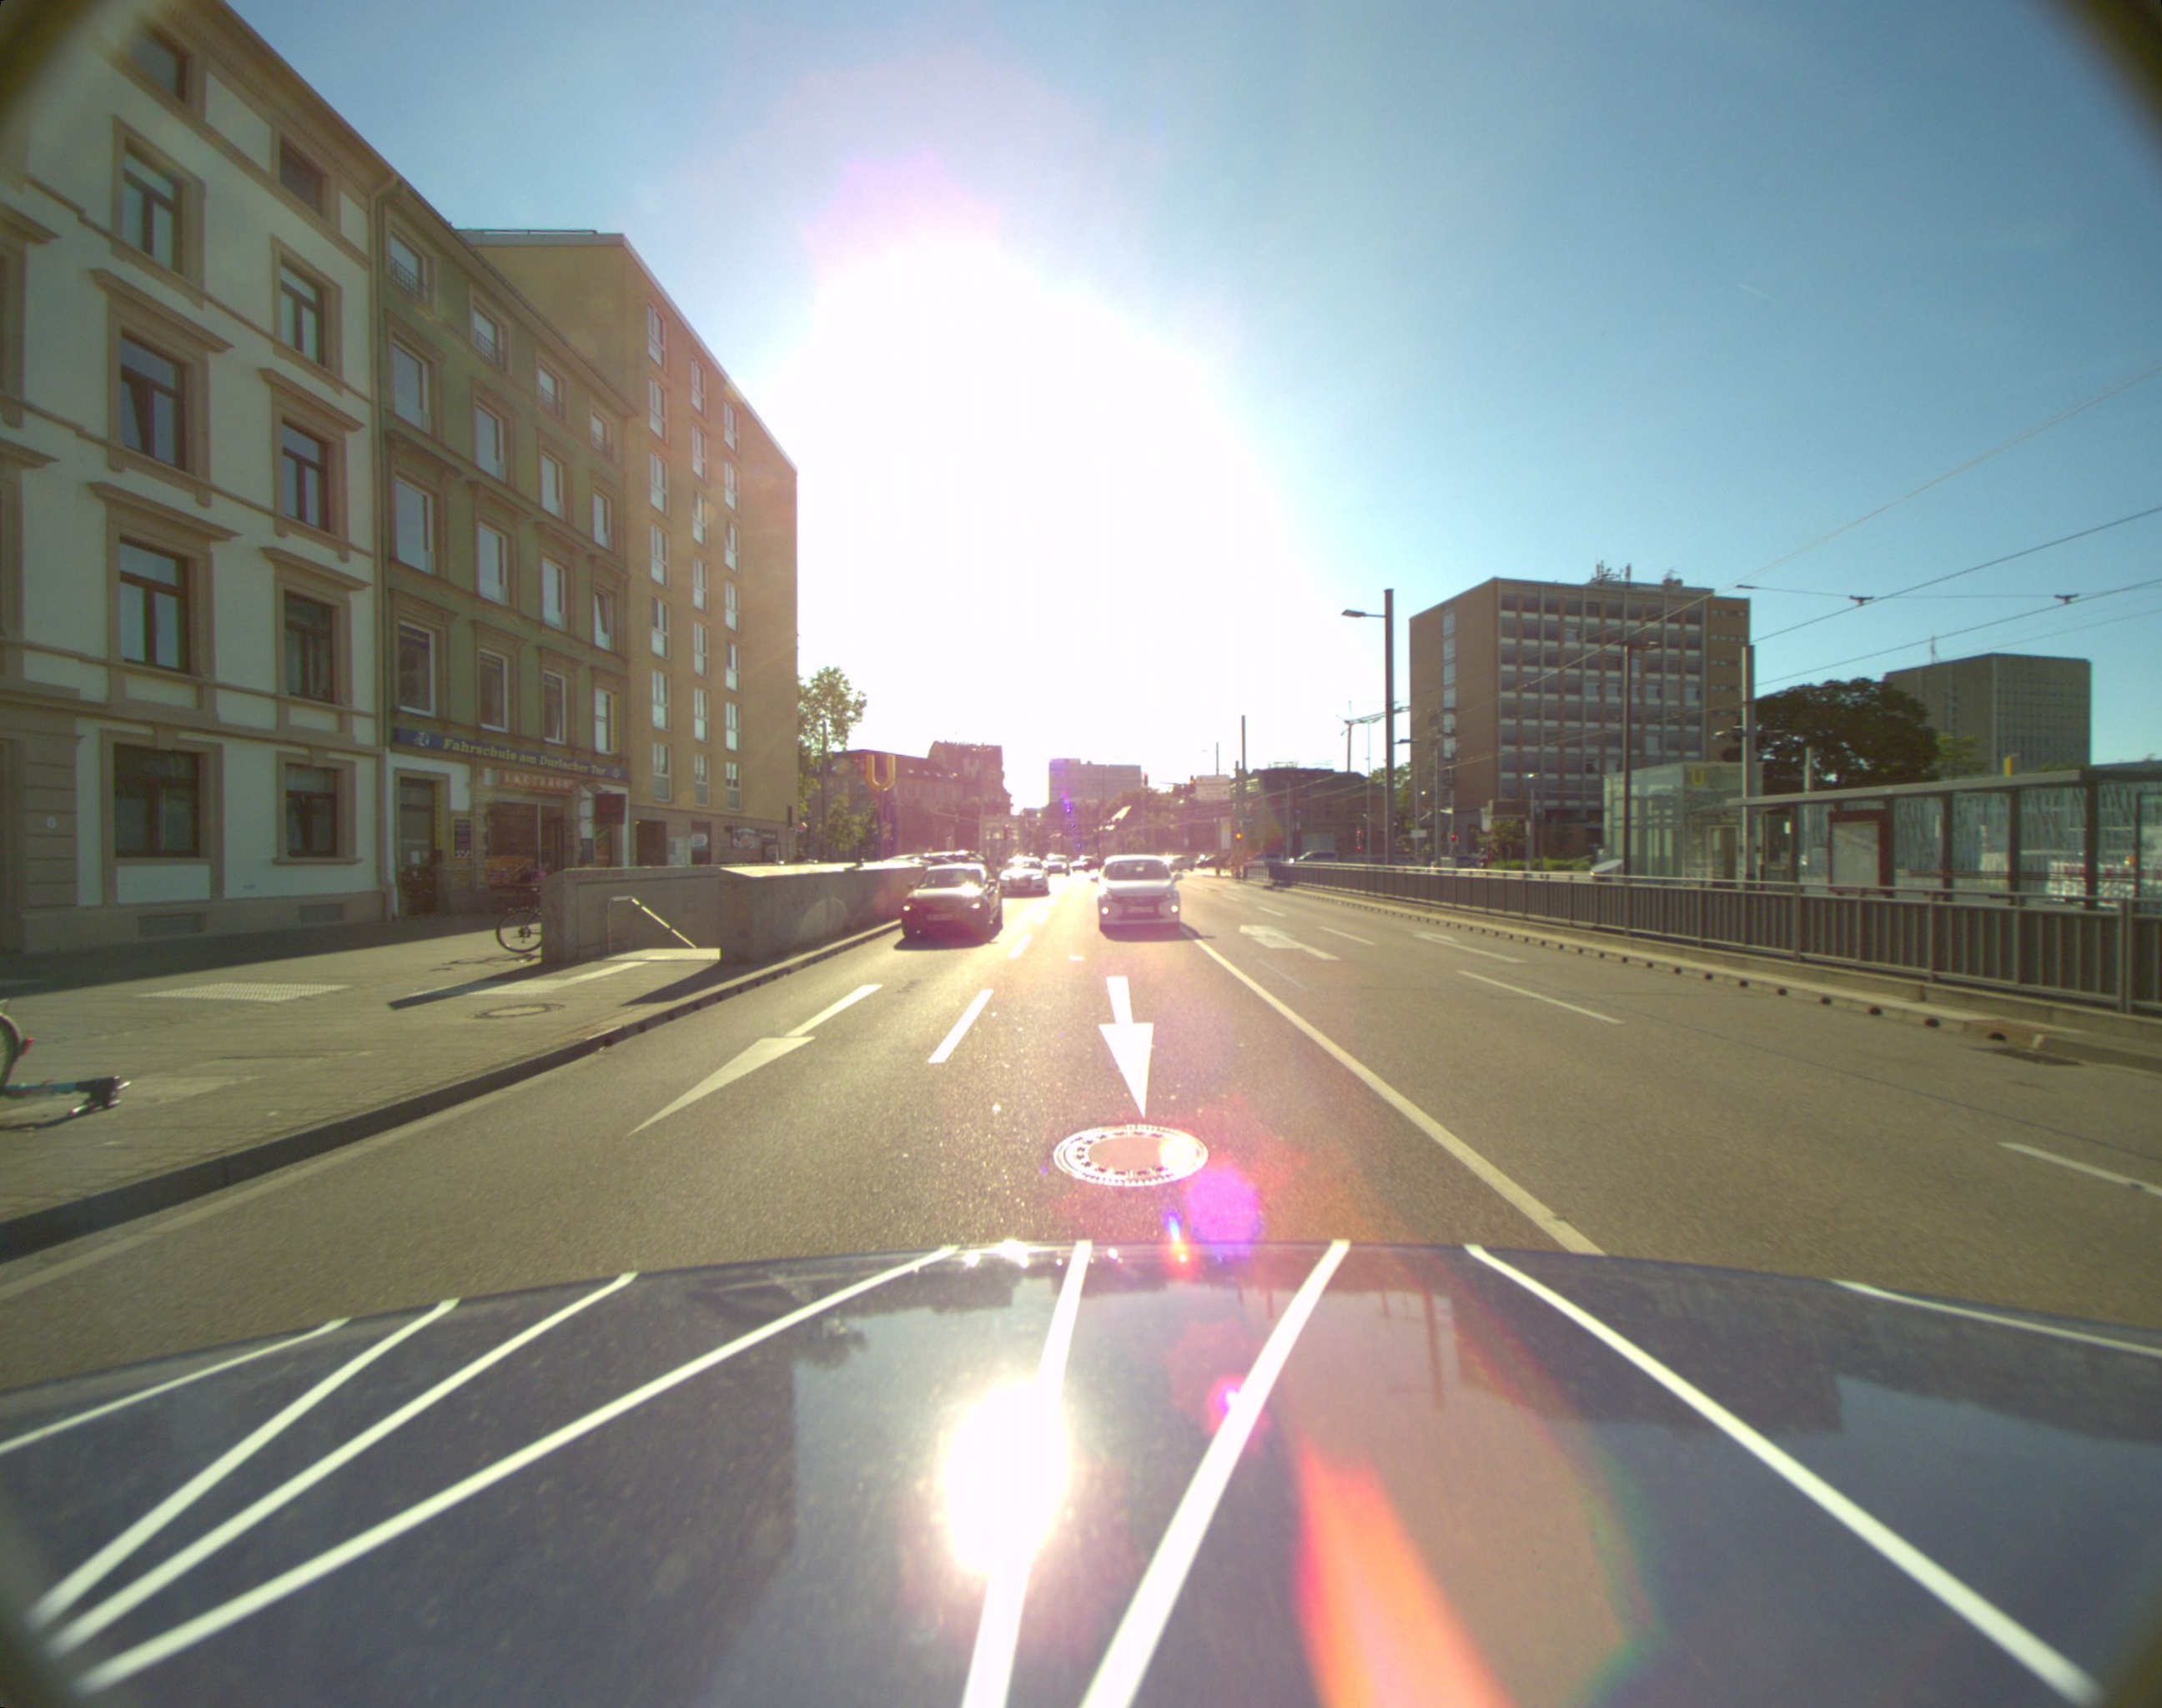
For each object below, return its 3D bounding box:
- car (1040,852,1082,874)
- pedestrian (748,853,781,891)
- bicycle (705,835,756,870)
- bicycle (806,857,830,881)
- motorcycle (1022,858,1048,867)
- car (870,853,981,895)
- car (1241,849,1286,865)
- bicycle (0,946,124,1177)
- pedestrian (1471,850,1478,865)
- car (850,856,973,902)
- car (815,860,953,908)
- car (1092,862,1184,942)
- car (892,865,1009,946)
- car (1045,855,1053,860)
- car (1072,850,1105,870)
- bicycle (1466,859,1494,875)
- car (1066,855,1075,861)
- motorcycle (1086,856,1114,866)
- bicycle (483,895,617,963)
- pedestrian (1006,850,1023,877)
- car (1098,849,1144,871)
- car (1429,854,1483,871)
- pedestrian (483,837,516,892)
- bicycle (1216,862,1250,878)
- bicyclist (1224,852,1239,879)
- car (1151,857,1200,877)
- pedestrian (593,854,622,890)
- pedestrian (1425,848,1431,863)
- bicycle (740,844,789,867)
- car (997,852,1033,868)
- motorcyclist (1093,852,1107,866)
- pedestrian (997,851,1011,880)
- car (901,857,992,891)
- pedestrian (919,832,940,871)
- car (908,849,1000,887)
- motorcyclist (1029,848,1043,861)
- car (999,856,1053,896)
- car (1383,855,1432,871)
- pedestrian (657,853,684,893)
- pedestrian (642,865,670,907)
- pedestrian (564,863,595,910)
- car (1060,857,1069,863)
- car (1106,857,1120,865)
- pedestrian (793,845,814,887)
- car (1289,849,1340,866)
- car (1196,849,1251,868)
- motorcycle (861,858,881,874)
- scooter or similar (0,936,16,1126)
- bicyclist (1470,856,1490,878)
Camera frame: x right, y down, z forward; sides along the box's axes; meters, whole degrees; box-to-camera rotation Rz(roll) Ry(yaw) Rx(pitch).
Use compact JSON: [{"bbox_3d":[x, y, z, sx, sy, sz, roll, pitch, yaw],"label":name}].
[{"bbox_3d":[-1.366,0.586,53.947,1.781,1.455,3.920,0,1,17],"label":"car"},{"bbox_3d":[-17.205,0.993,41.344,1.032,2.001,1.272,0,-2,18],"label":"pedestrian"},{"bbox_3d":[-14.570,-0.021,31.694,0.932,1.348,2.230,1,-2,4],"label":"bicycle"},{"bbox_3d":[-14.034,0.794,40.581,0.659,1.241,1.900,1,1,-2],"label":"bicycle"},{"bbox_3d":[-6.057,1.094,99.994,3.225,1.187,1.120,0,-2,22],"label":"motorcycle"},{"bbox_3d":[-6.679,0.824,32.843,4.259,1.588,1.955,-2,0,-42],"label":"car"},{"bbox_3d":[20.435,0.365,85.090,4.696,1.673,2.004,0,-2,19],"label":"car"},{"bbox_3d":[-5.912,1.135,3.873,0.470,1.140,1.767,-1,-1,-22],"label":"bicycle"},{"bbox_3d":[46.441,0.394,89.708,0.623,1.701,0.487,-1,-2,35],"label":"pedestrian"},{"bbox_3d":[-6.550,0.936,29.662,4.259,1.561,1.955,-2,0,-43],"label":"car"},{"bbox_3d":[-6.676,0.961,26.000,4.121,1.455,1.956,-1,1,-41],"label":"car"},{"bbox_3d":[1.118,0.930,16.423,1.720,1.483,3.871,-2,0,1],"label":"car"},{"bbox_3d":[-2.644,1.012,16.289,1.694,1.380,3.831,-1,1,2],"label":"car"},{"bbox_3d":[-9.671,1.133,228.134,1.757,1.455,4.016,-1,-2,-12],"label":"car"},{"bbox_3d":[0.684,0.550,68.011,1.996,1.673,4.006,0,-2,15],"label":"car"},{"bbox_3d":[26.821,0.865,51.110,0.815,0.936,2.002,-5,1,3],"label":"bicycle"},{"bbox_3d":[-2.735,1.019,195.961,1.757,1.455,4.016,-1,-2,-12],"label":"car"},{"bbox_3d":[2.361,0.928,94.254,3.225,1.187,1.120,0,-2,22],"label":"motorcycle"},{"bbox_3d":[-8.878,1.241,12.790,1.773,1.083,0.469,2,-2,-28],"label":"bicycle"},{"bbox_3d":[-4.301,0.582,49.248,0.796,1.718,0.868,-1,1,-31],"label":"pedestrian"},{"bbox_3d":[3.224,0.419,60.598,1.995,1.666,4.291,0,0,28],"label":"car"},{"bbox_3d":[38.749,0.879,78.618,4.697,1.673,2.003,0,-2,16],"label":"car"},{"bbox_3d":[-18.259,0.314,23.861,0.516,1.702,0.592,0,1,13],"label":"pedestrian"},{"bbox_3d":[9.395,0.993,47.081,1.894,0.936,0.815,1,1,-4],"label":"bicycle"},{"bbox_3d":[9.341,0.717,47.072,0.676,1.607,0.815,1,1,-4],"label":"bicyclist"},{"bbox_3d":[8.791,1.175,70.289,4.291,1.666,1.995,-1,1,-35],"label":"car"},{"bbox_3d":[-15.260,0.582,24.494,0.516,1.153,0.592,0,1,8],"label":"pedestrian"},{"bbox_3d":[39.267,0.161,85.883,0.503,1.625,0.428,0,-2,8],"label":"pedestrian"},{"bbox_3d":[-17.191,0.099,41.395,1.032,1.116,2.535,0,-2,18],"label":"bicycle"},{"bbox_3d":[-8.358,0.753,96.701,3.991,1.598,2.001,-2,5,20],"label":"car"},{"bbox_3d":[2.340,0.589,94.284,1.451,1.657,1.120,0,-2,22],"label":"motorcyclist"},{"bbox_3d":[-4.649,0.706,45.946,0.698,1.718,0.752,0,1,-15],"label":"pedestrian"},{"bbox_3d":[-6.436,0.925,36.569,3.900,1.391,1.784,-3,1,-43],"label":"car"},{"bbox_3d":[-7.392,-0.131,37.091,0.755,1.855,0.696,-1,1,-41],"label":"pedestrian"},{"bbox_3d":[-6.597,0.717,39.720,4.259,1.803,1.955,-2,0,-40],"label":"car"},{"bbox_3d":[-5.891,0.011,99.969,1.451,1.657,1.120,0,-2,22],"label":"motorcyclist"},{"bbox_3d":[-2.152,0.828,30.830,1.825,1.380,4.457,-2,1,0],"label":"car"},{"bbox_3d":[35.569,1.034,82.874,4.697,1.673,2.003,0,-2,16],"label":"car"},{"bbox_3d":[-13.664,0.628,25.313,0.516,1.311,0.592,0,1,8],"label":"pedestrian"},{"bbox_3d":[-13.754,1.035,24.606,0.516,1.311,0.592,0,1,8],"label":"pedestrian"},{"bbox_3d":[-14.270,0.924,21.636,0.516,1.311,0.591,-1,1,-6],"label":"pedestrian"},{"bbox_3d":[-4.366,1.616,201.368,1.757,1.455,4.016,-1,-2,-12],"label":"car"},{"bbox_3d":[6.459,1.497,152.635,1.757,1.455,4.016,-1,-2,-12],"label":"car"},{"bbox_3d":[-12.612,0.540,34.550,0.754,1.855,0.830,-1,1,-29],"label":"pedestrian"},{"bbox_3d":[23.494,0.373,76.529,4.612,1.679,2.001,0,1,5],"label":"car"},{"bbox_3d":[15.312,0.505,81.979,5.757,2.001,2.002,0,-2,9],"label":"car"},{"bbox_3d":[-14.671,0.832,53.125,0.880,1.040,1.803,1,1,-1],"label":"motorcycle"},{"bbox_3d":[-7.393,1.157,4.404,1.210,1.209,0.641,-2,2,-26],"label":"scooter or similar"},{"bbox_3d":[26.816,0.865,51.108,0.815,1.337,0.902,-5,1,3],"label":"bicyclist"}]
